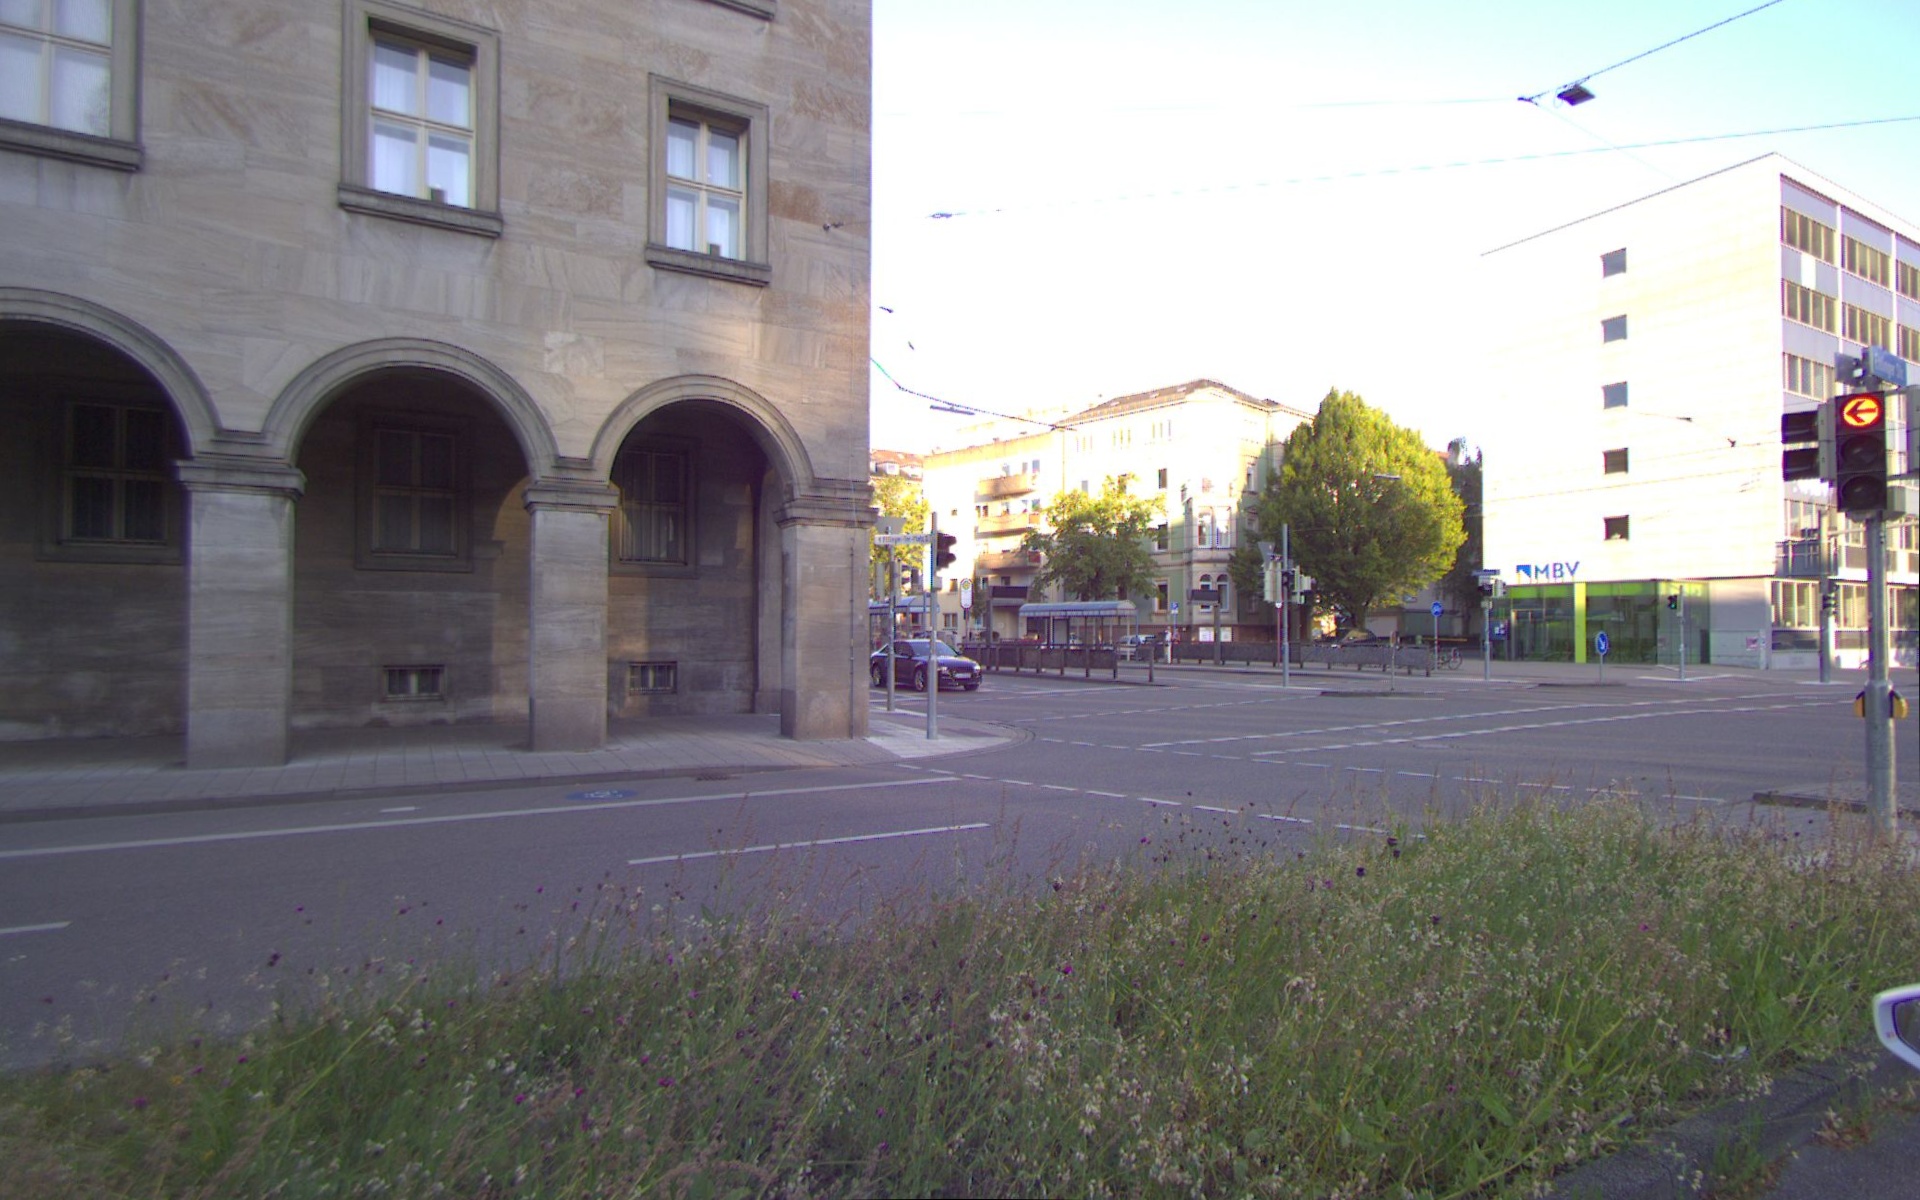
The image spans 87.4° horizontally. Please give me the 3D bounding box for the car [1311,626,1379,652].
[{"bbox_3d":[21.693,2.199,56.593,3.553,1.390,1.826,1,-2,-32],"label":"car"}]

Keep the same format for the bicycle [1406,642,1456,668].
[{"bbox_3d":[20.981,2.451,44.720,2.183,1.127,0.834,1,-2,-26],"label":"bicycle"}]

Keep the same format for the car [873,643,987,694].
[{"bbox_3d":[-0.964,1.974,29.773,1.791,1.344,4.120,1,-2,-27],"label":"car"}]

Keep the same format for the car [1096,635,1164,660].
[{"bbox_3d":[10.005,2.775,59.220,3.545,1.390,1.830,-2,-3,45],"label":"car"}]

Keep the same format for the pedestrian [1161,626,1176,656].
[{"bbox_3d":[12.930,2.532,62.318,0.718,1.813,0.634,2,-2,-44],"label":"pedestrian"}]

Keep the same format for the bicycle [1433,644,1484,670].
[{"bbox_3d":[21.616,2.458,43.521,2.183,1.127,0.834,1,-2,-26],"label":"bicycle"}]

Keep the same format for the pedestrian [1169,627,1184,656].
[{"bbox_3d":[13.530,2.596,62.810,0.718,1.813,0.634,2,-2,-43],"label":"pedestrian"}]
